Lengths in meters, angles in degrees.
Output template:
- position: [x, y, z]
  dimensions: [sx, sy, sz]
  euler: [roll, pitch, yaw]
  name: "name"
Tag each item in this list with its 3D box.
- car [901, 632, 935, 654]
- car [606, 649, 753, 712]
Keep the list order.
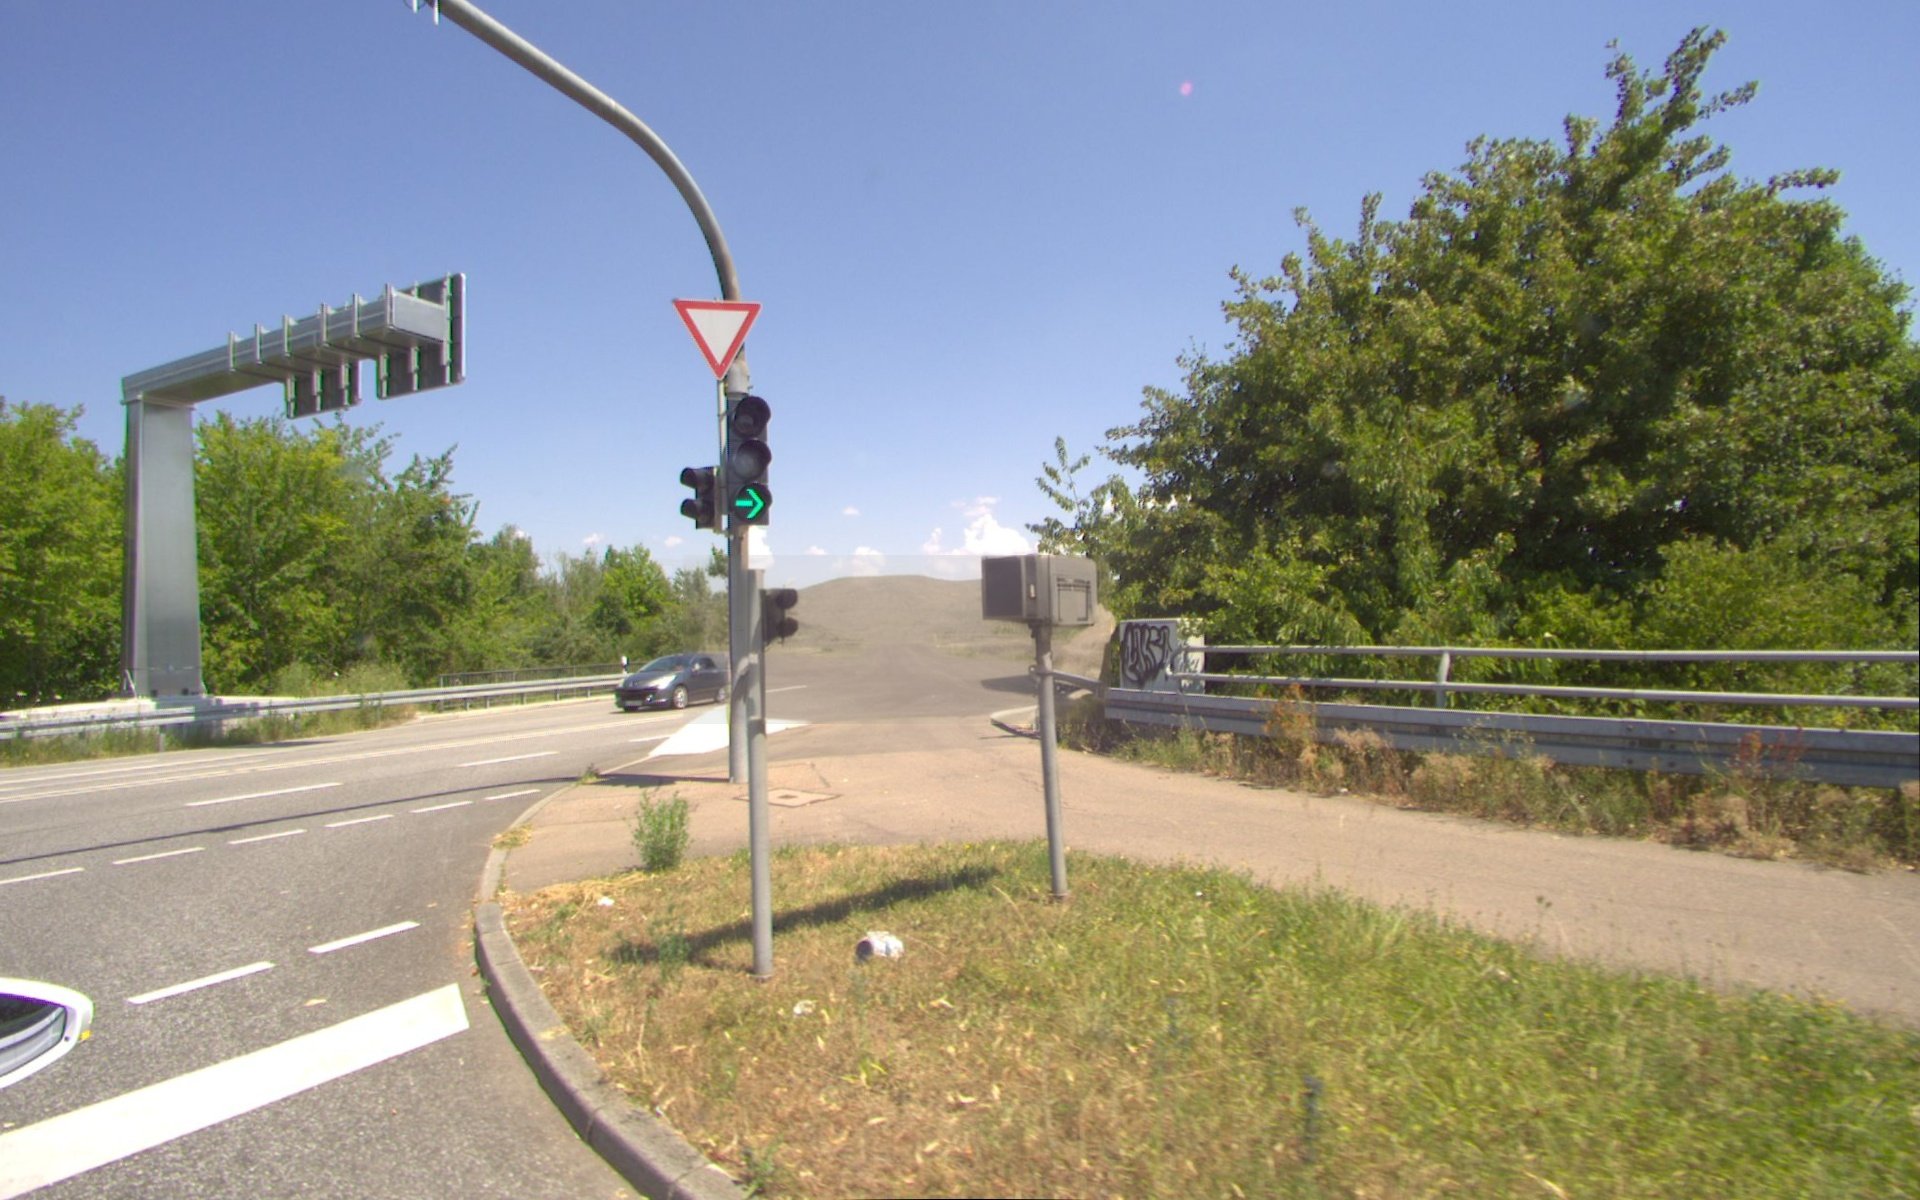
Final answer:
- position: [-3.360, 3.440, 78.856]
  dimensions: [1.809, 1.502, 4.837]
  euler: [-3, -3, -12]
  name: "car"
- position: [-7.294, 2.078, 26.473]
  dimensions: [1.624, 1.369, 3.959]
  euler: [-4, -2, 22]
  name: "car"
